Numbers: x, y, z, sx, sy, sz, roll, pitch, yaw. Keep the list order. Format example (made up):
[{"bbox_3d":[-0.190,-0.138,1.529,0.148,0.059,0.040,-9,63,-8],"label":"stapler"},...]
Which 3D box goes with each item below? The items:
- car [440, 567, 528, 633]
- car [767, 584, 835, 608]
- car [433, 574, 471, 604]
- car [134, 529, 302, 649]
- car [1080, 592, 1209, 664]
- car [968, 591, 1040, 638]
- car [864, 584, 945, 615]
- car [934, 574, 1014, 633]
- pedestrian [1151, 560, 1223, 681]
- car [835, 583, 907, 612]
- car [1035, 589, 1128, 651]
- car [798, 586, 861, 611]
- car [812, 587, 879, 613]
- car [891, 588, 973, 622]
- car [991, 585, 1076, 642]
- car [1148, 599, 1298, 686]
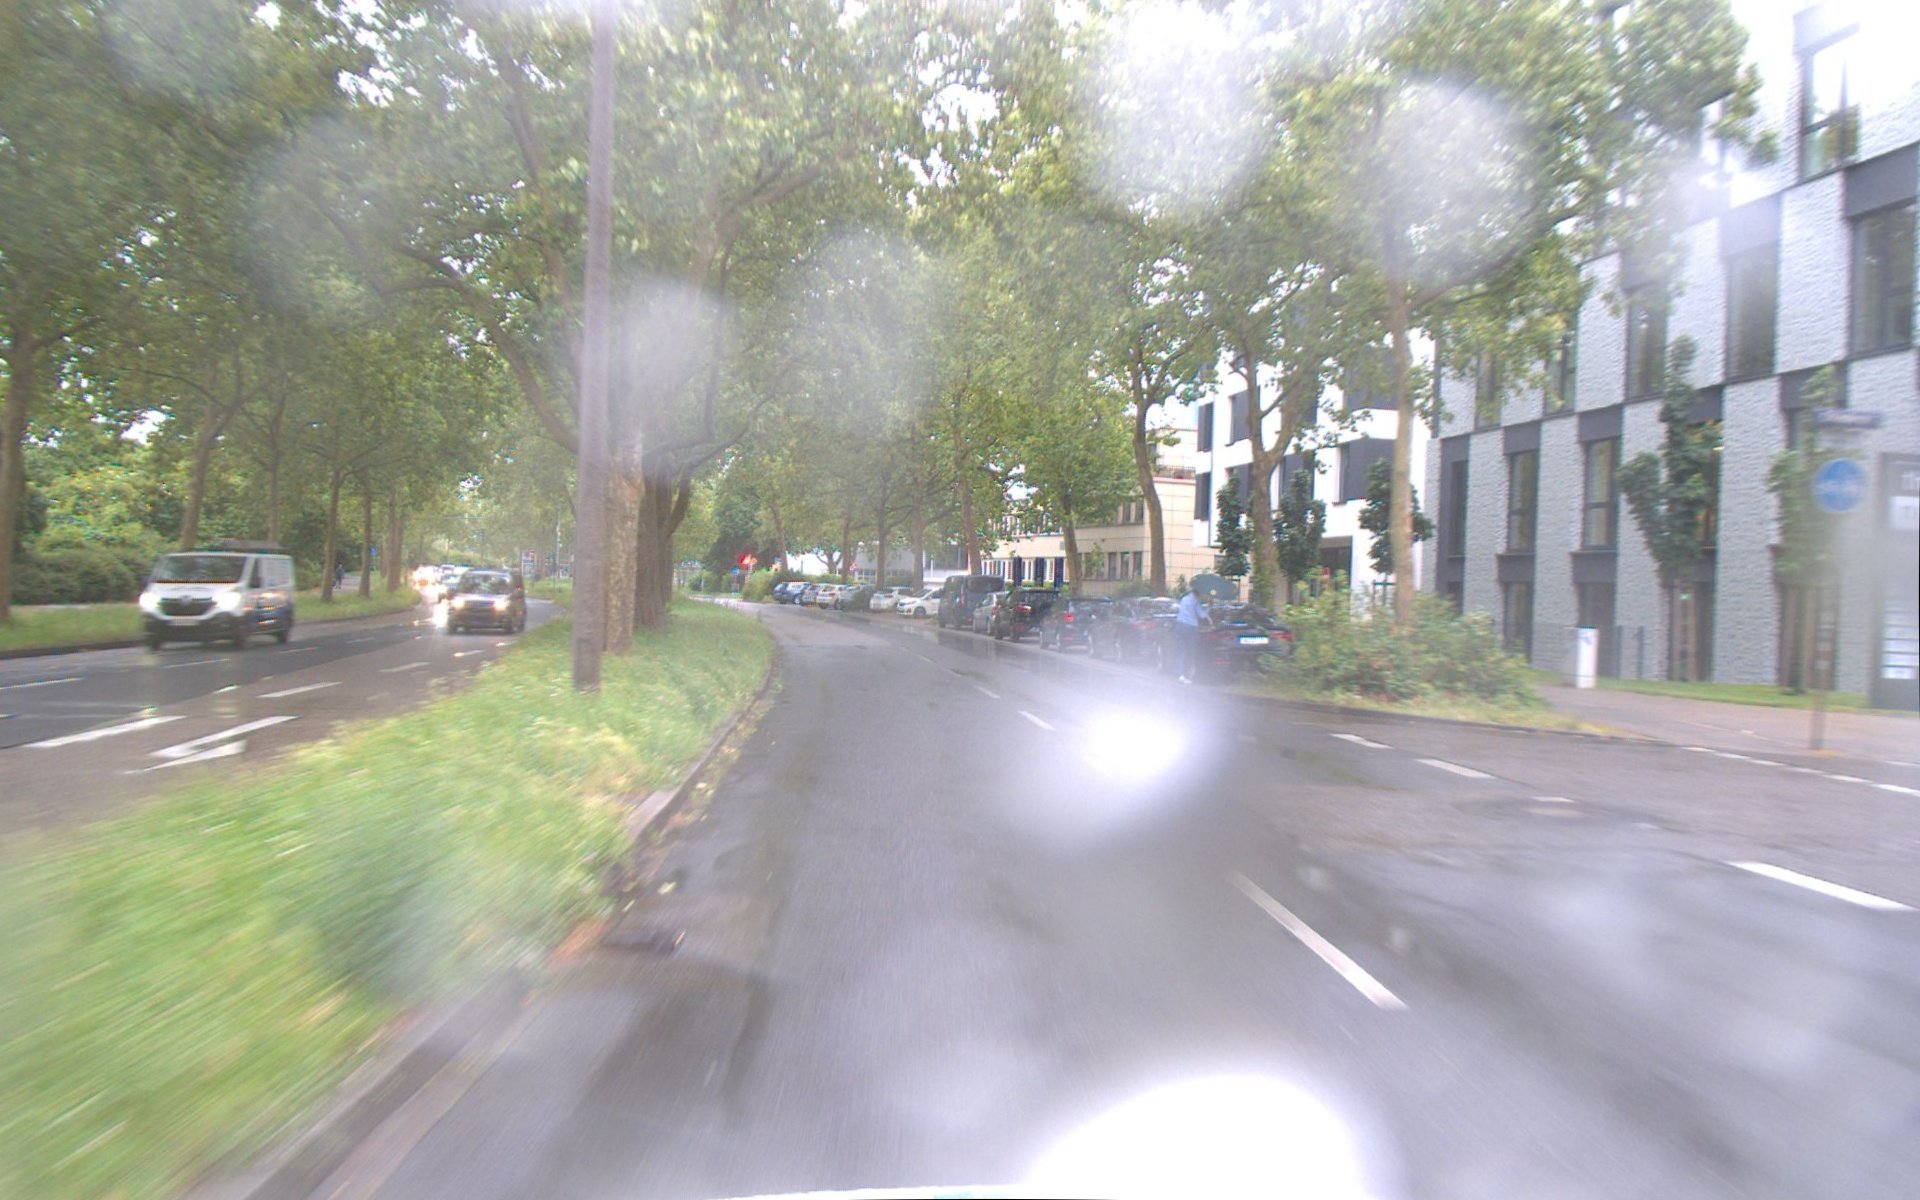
[{"bbox_3d":[-13.612,-0.016,47.522,1.994,1.767,4.940,2,0,-12],"label":"car"},{"bbox_3d":[-10.802,-0.267,112.485,4.456,1.484,1.723,2,0,-41],"label":"car"},{"bbox_3d":[-28.510,-0.617,92.834,1.713,1.588,4.353,2,0,-13],"label":"car"},{"bbox_3d":[-15.462,-0.231,34.801,1.994,2.265,5.419,2,0,-11],"label":"car"},{"bbox_3d":[4.073,0.574,37.328,1.710,1.453,5.095,2,0,-7],"label":"car"},{"bbox_3d":[1.475,0.463,57.082,1.711,1.495,4.297,2,0,-9],"label":"car"},{"bbox_3d":[-2.807,-0.025,84.301,4.008,1.453,1.720,2,0,-45],"label":"car"},{"bbox_3d":[0.478,0.119,62.320,2.082,2.063,5.516,2,0,-9],"label":"car"},{"bbox_3d":[3.953,0.350,28.750,0.892,2.049,0.820,2,0,-43],"label":"pedestrian"},{"bbox_3d":[-5.001,-0.138,93.414,1.719,1.566,4.011,2,0,43],"label":"car"},{"bbox_3d":[3.120,0.478,43.332,1.710,1.502,4.077,2,0,-6],"label":"car"},{"bbox_3d":[-8.159,-0.097,103.657,1.746,1.441,3.666,2,0,45],"label":"car"},{"bbox_3d":[-6.794,-0.015,98.299,3.660,1.441,1.723,2,0,-41],"label":"car"},{"bbox_3d":[-1.362,0.242,80.216,3.594,1.530,1.733,1,1,-29],"label":"car"},{"bbox_3d":[2.169,0.382,50.299,1.711,1.594,4.362,2,0,-9],"label":"car"},{"bbox_3d":[4.795,0.725,30.820,1.709,1.453,4.856,-1,0,-4],"label":"car"}]
